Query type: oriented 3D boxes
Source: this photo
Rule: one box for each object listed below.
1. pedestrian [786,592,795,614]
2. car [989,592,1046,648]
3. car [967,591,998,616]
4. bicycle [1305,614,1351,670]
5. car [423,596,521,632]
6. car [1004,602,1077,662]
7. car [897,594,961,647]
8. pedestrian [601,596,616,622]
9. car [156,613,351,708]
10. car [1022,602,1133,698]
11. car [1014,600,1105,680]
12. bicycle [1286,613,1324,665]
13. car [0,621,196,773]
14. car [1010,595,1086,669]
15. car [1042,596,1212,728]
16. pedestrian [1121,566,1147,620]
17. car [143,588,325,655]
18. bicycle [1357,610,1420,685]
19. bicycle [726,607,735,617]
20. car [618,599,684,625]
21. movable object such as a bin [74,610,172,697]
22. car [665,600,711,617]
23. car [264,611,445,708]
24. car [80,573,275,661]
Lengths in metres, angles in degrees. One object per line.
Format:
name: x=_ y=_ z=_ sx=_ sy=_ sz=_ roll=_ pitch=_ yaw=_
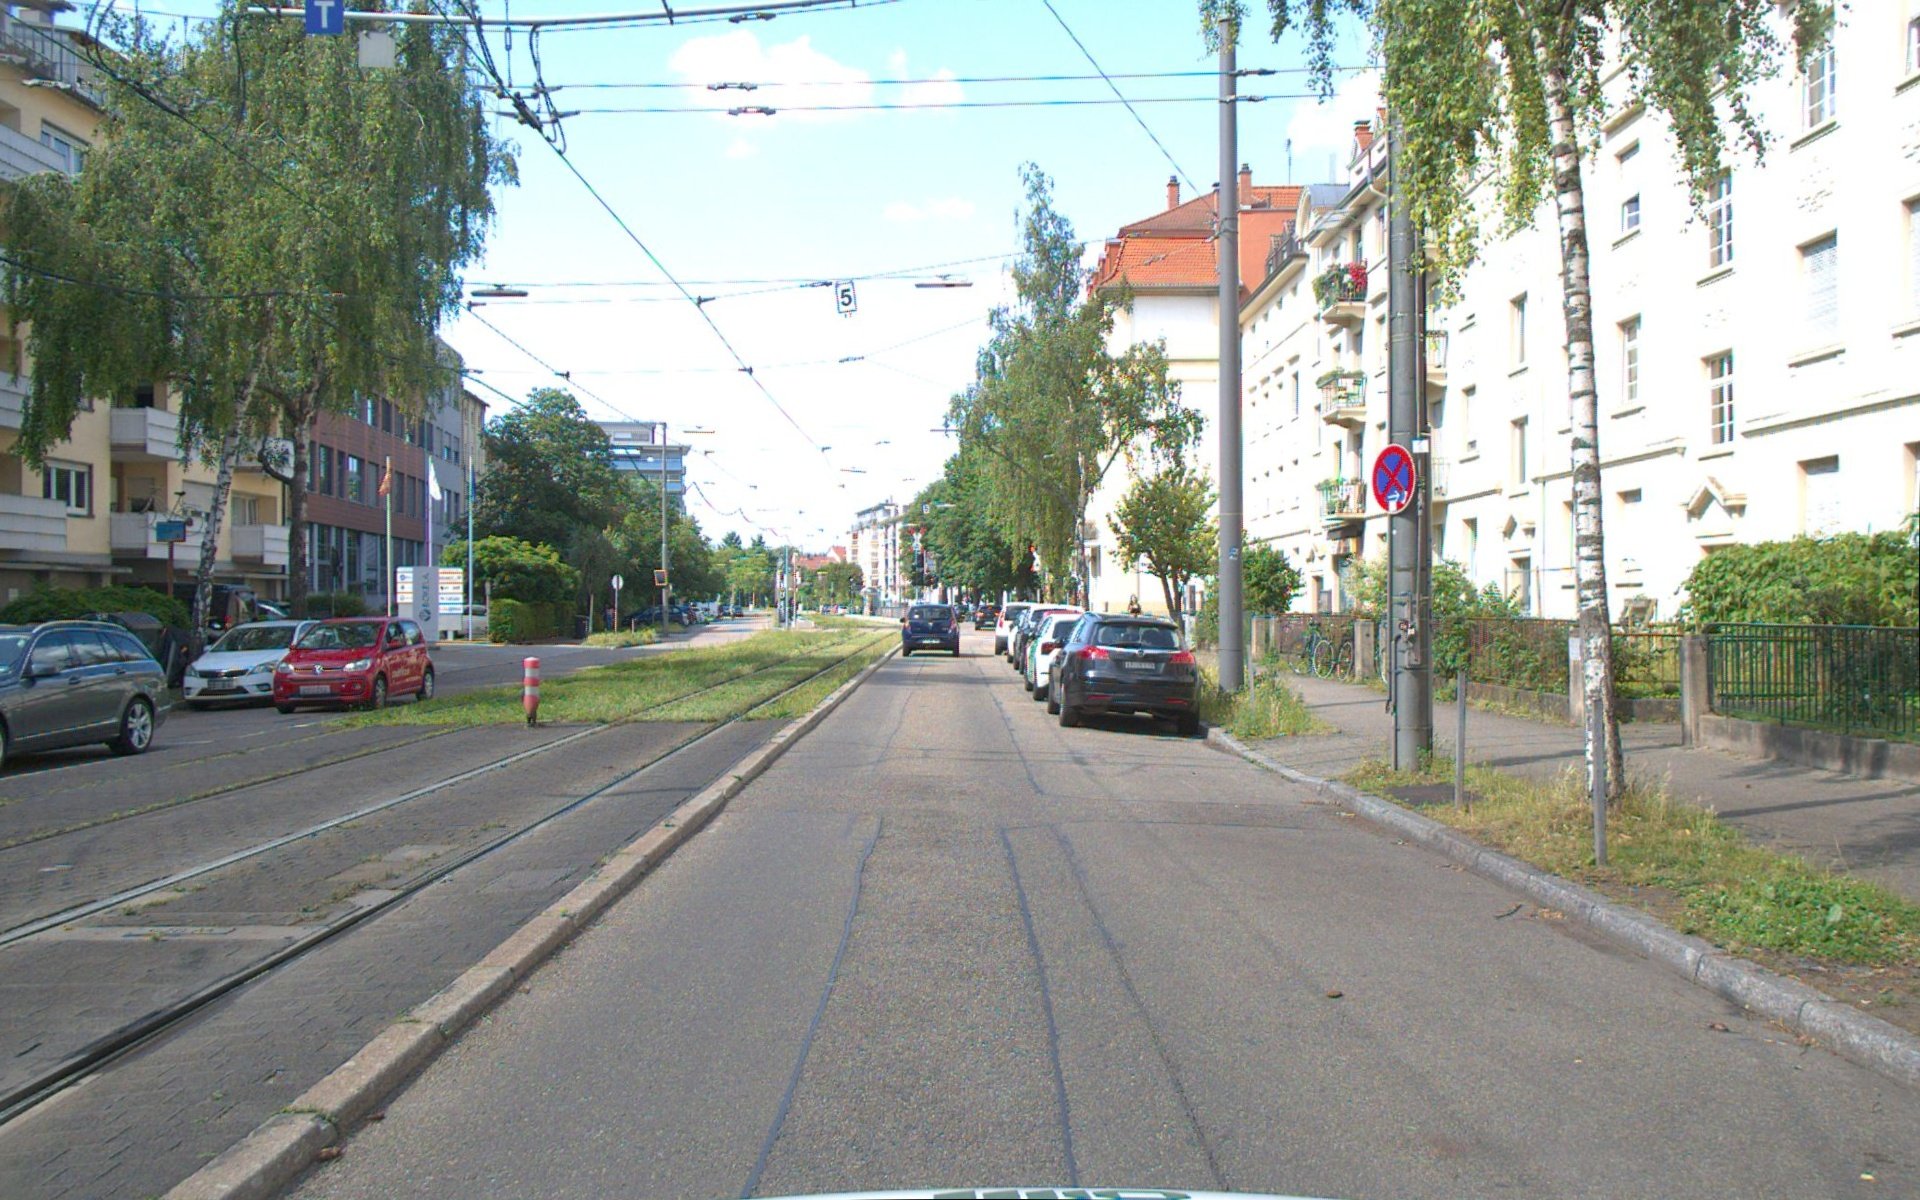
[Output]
pedestrian: x=-13.965 y=0.281 z=136.248 sx=0.591 sy=1.797 sz=0.639 roll=0 pitch=0 yaw=3
car: x=1.833 y=0.609 z=52.235 sx=1.685 sy=1.658 sz=4.001 roll=2 pitch=0 yaw=2
car: x=1.307 y=0.217 z=97.113 sx=1.666 sy=1.392 sz=3.513 roll=2 pitch=0 yaw=-2
bicycle: x=6.686 y=0.744 z=30.119 sx=0.370 sy=0.960 sz=2.009 roll=0 pitch=0 yaw=-1
car: x=-22.153 y=0.630 z=75.156 sx=3.907 sy=1.624 sz=1.999 roll=0 pitch=0 yaw=-3
car: x=2.080 y=0.817 z=43.763 sx=1.639 sy=1.441 sz=3.794 roll=2 pitch=0 yaw=-1
car: x=-0.877 y=0.592 z=49.148 sx=1.731 sy=1.487 sz=3.776 roll=1 pitch=0 yaw=1
pedestrian: x=-21.444 y=0.554 z=100.872 sx=0.730 sy=1.601 sz=0.889 roll=-1 pitch=-2 yaw=2
car: x=-12.503 y=1.017 z=29.544 sx=1.611 sy=1.503 sz=4.226 roll=-1 pitch=0 yaw=0
car: x=2.000 y=0.825 z=29.039 sx=1.586 sy=1.478 sz=3.918 roll=3 pitch=0 yaw=0
car: x=2.003 y=0.779 z=34.207 sx=1.557 sy=1.478 sz=3.844 roll=3 pitch=0 yaw=0
bicycle: x=6.686 y=0.743 z=32.072 sx=0.379 sy=0.955 sz=1.585 roll=0 pitch=0 yaw=-1
car: x=-9.803 y=0.962 z=16.936 sx=1.719 sy=1.380 sz=4.513 roll=-2 pitch=0 yaw=1
car: x=2.027 y=0.715 z=38.978 sx=1.463 sy=1.607 sz=3.758 roll=2 pitch=0 yaw=-2
car: x=2.170 y=0.763 z=22.608 sx=1.755 sy=1.547 sz=4.526 roll=2 pitch=0 yaw=-1
pedestrian: x=5.565 y=-0.222 z=52.966 sx=0.714 sy=1.712 sz=0.691 roll=-2 pitch=0 yaw=3
car: x=-19.176 y=0.559 z=43.800 sx=3.905 sy=1.630 sz=1.973 roll=1 pitch=0 yaw=0
bicycle: x=6.712 y=0.720 z=25.996 sx=0.462 sy=1.096 sz=2.183 roll=-1 pitch=0 yaw=1
bicycle: x=-23.995 y=1.223 z=173.141 sx=0.667 sy=0.988 sz=2.178 roll=-1 pitch=0 yaw=-2
car: x=-20.476 y=0.772 z=109.735 sx=1.697 sy=1.669 sz=4.104 roll=0 pitch=0 yaw=44
movable object such as a bin: x=-14.816 y=0.931 z=29.336 sx=0.931 sy=1.455 sz=1.521 roll=2 pitch=0 yaw=-1
car: x=-24.541 y=0.748 z=149.231 sx=1.686 sy=1.391 sz=3.975 roll=-1 pitch=0 yaw=43
car: x=-9.832 y=0.926 z=27.127 sx=1.546 sy=1.411 sz=3.693 roll=-1 pitch=0 yaw=0
car: x=-19.575 y=0.402 z=41.492 sx=3.903 sy=2.049 sz=1.938 roll=2 pitch=0 yaw=3
